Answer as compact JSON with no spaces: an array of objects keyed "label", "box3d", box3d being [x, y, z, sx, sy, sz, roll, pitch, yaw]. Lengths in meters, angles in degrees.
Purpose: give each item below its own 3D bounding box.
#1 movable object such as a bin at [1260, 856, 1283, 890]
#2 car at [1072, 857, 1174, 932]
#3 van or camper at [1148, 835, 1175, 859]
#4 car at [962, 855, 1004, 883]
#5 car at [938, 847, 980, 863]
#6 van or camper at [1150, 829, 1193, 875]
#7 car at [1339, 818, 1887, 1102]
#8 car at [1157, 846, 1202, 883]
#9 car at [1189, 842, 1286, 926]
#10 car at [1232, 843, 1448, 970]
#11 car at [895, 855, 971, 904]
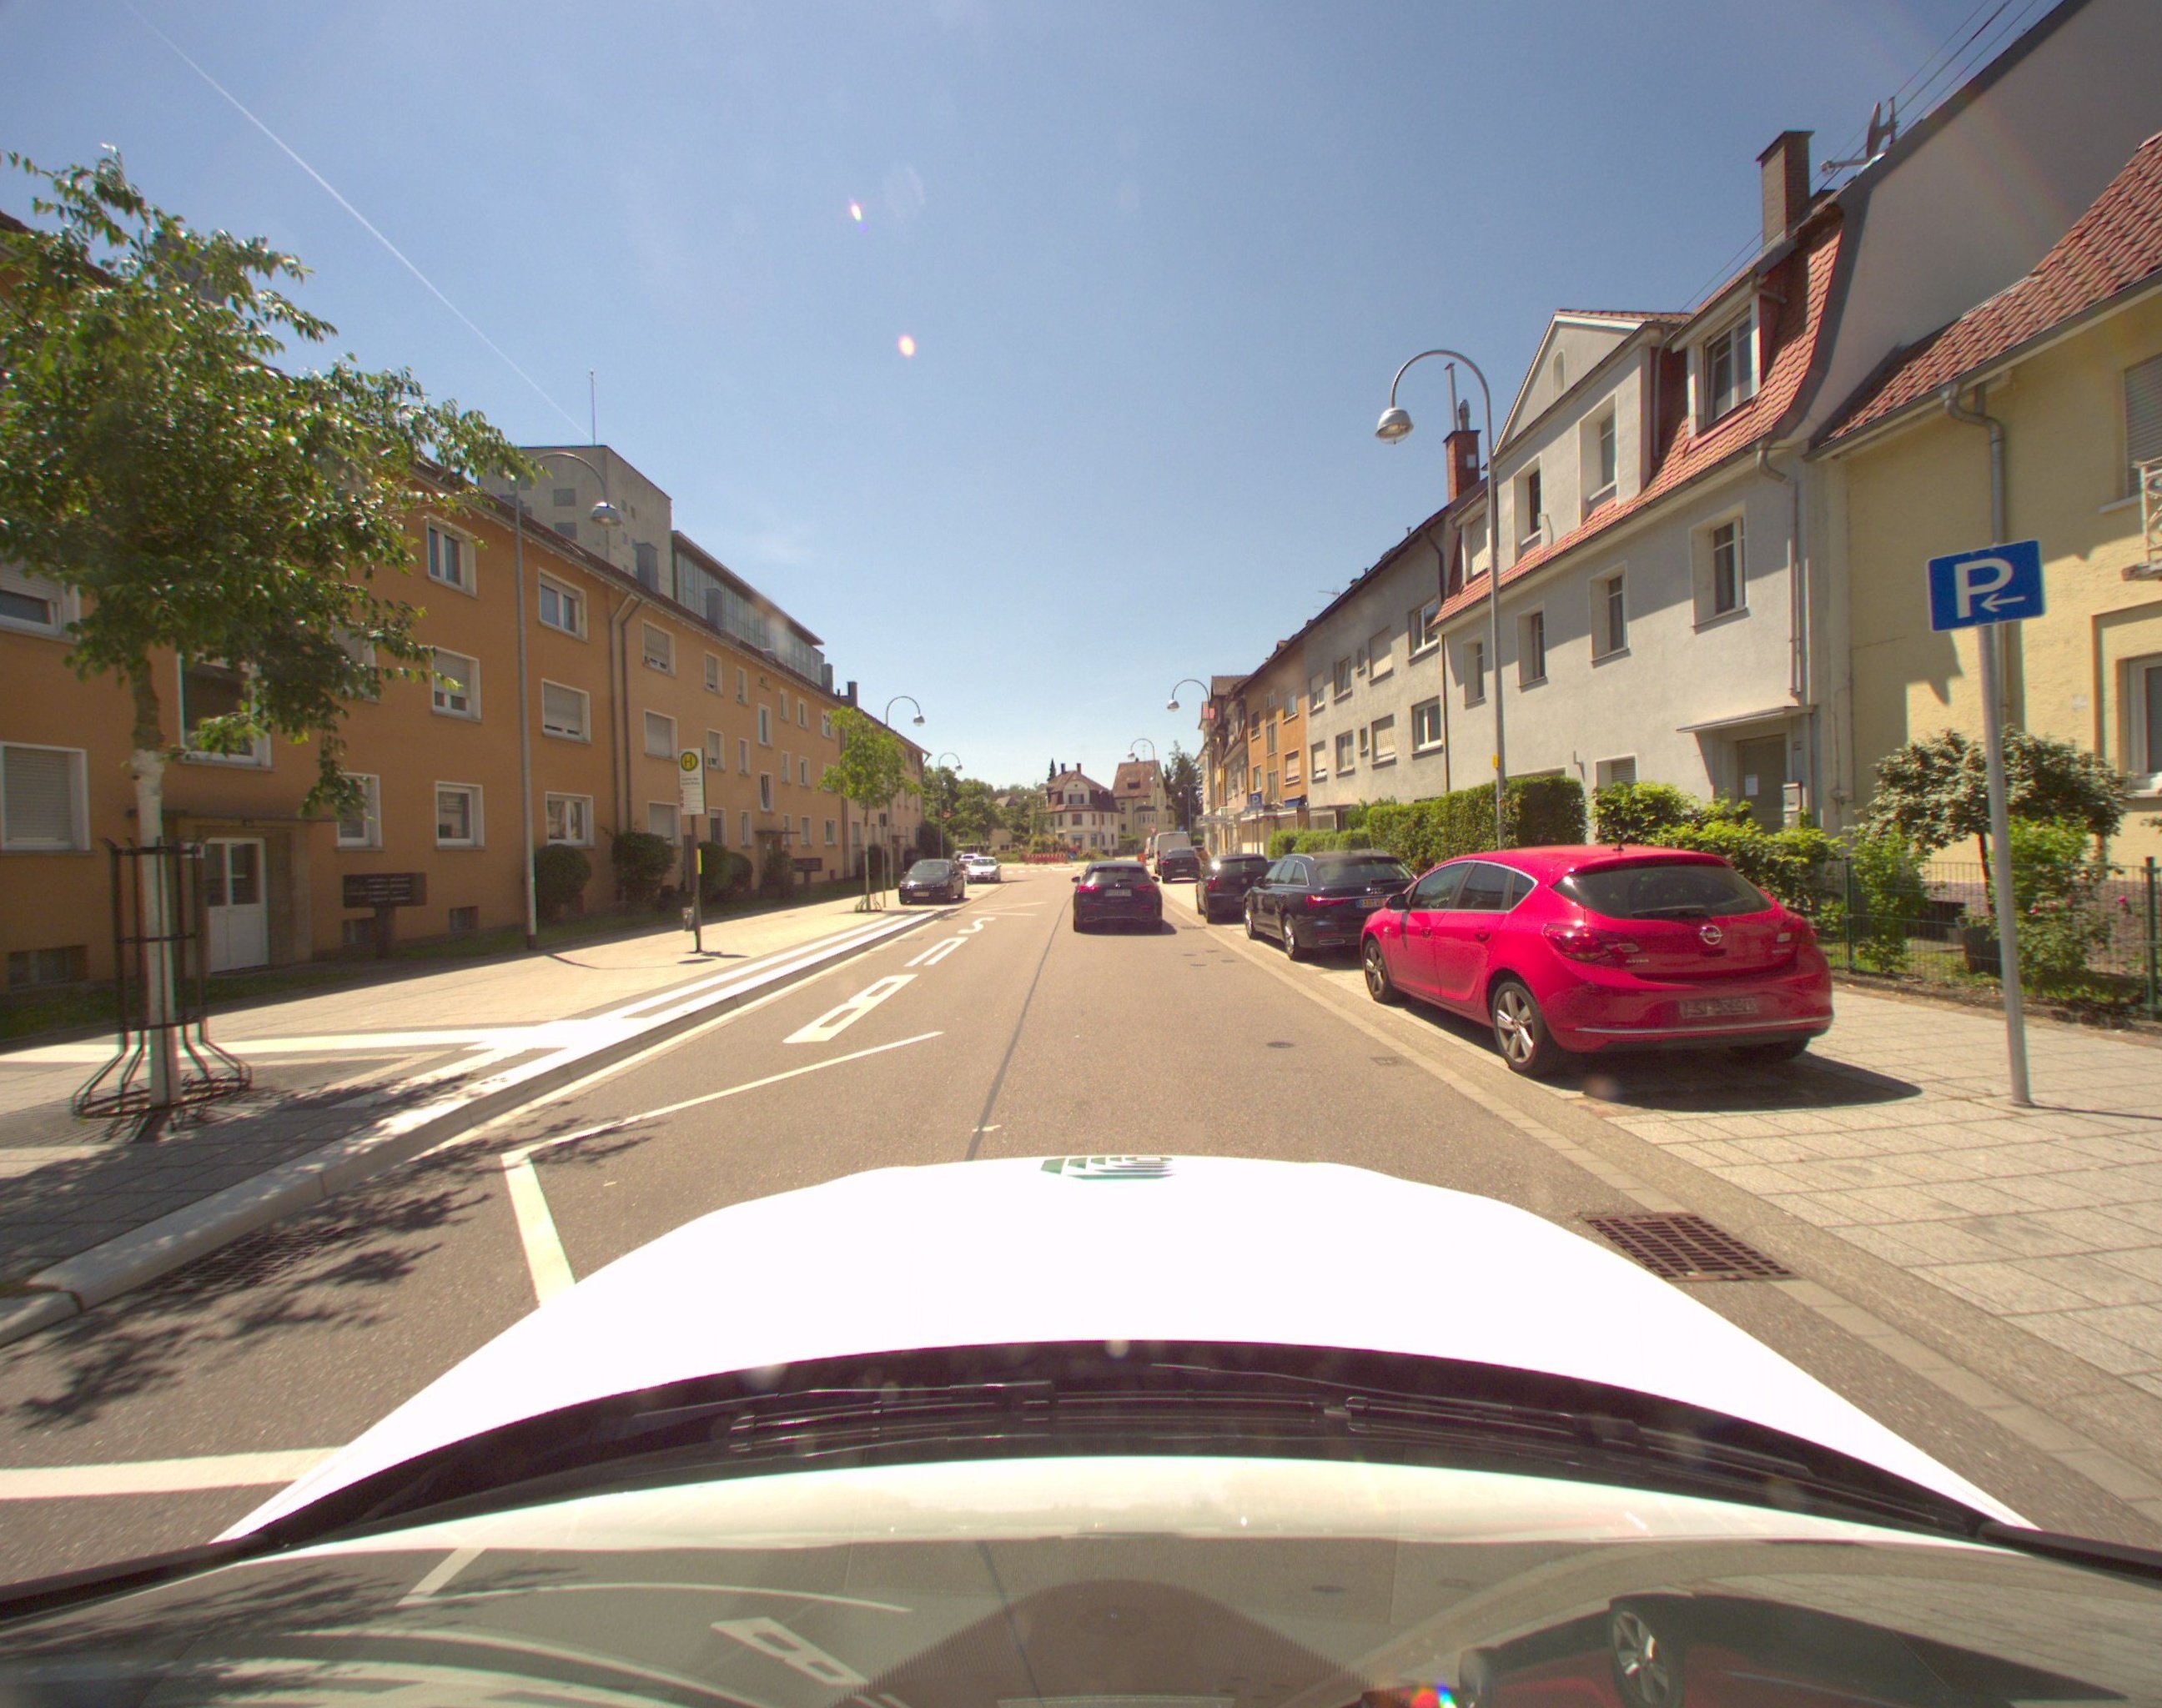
[{"label":"movable object such as a bin","box3d":[6.259,0.624,26.768,0.591,1.077,0.647,-2,0,0]},{"label":"car","box3d":[0.849,0.793,17.619,1.946,1.427,4.001,0,-1,1]},{"label":"van or camper","box3d":[9.163,-0.769,92.621,2.188,2.610,4.020,-1,1,19]},{"label":"car","box3d":[-5.390,0.813,45.428,1.989,1.420,4.084,-1,0,-3]},{"label":"car","box3d":[-14.430,0.069,96.638,1.975,1.816,5.454,1,1,29]},{"label":"van or camper","box3d":[5.561,-0.126,50.561,2.156,2.588,5.769,-2,0,2]},{"label":"car","box3d":[3.733,0.596,6.779,1.797,1.530,4.150,-4,0,0]},{"label":"car","box3d":[4.798,0.463,39.140,1.884,1.607,4.376,-3,0,9]},{"label":"car","box3d":[3.527,0.599,19.002,1.720,1.633,4.006,-4,1,5]},{"label":"car","box3d":[3.733,0.652,12.724,1.797,1.475,4.720,-5,0,0]},{"label":"car","box3d":[-5.171,0.835,29.020,1.851,1.506,4.561,-1,1,-1]}]
